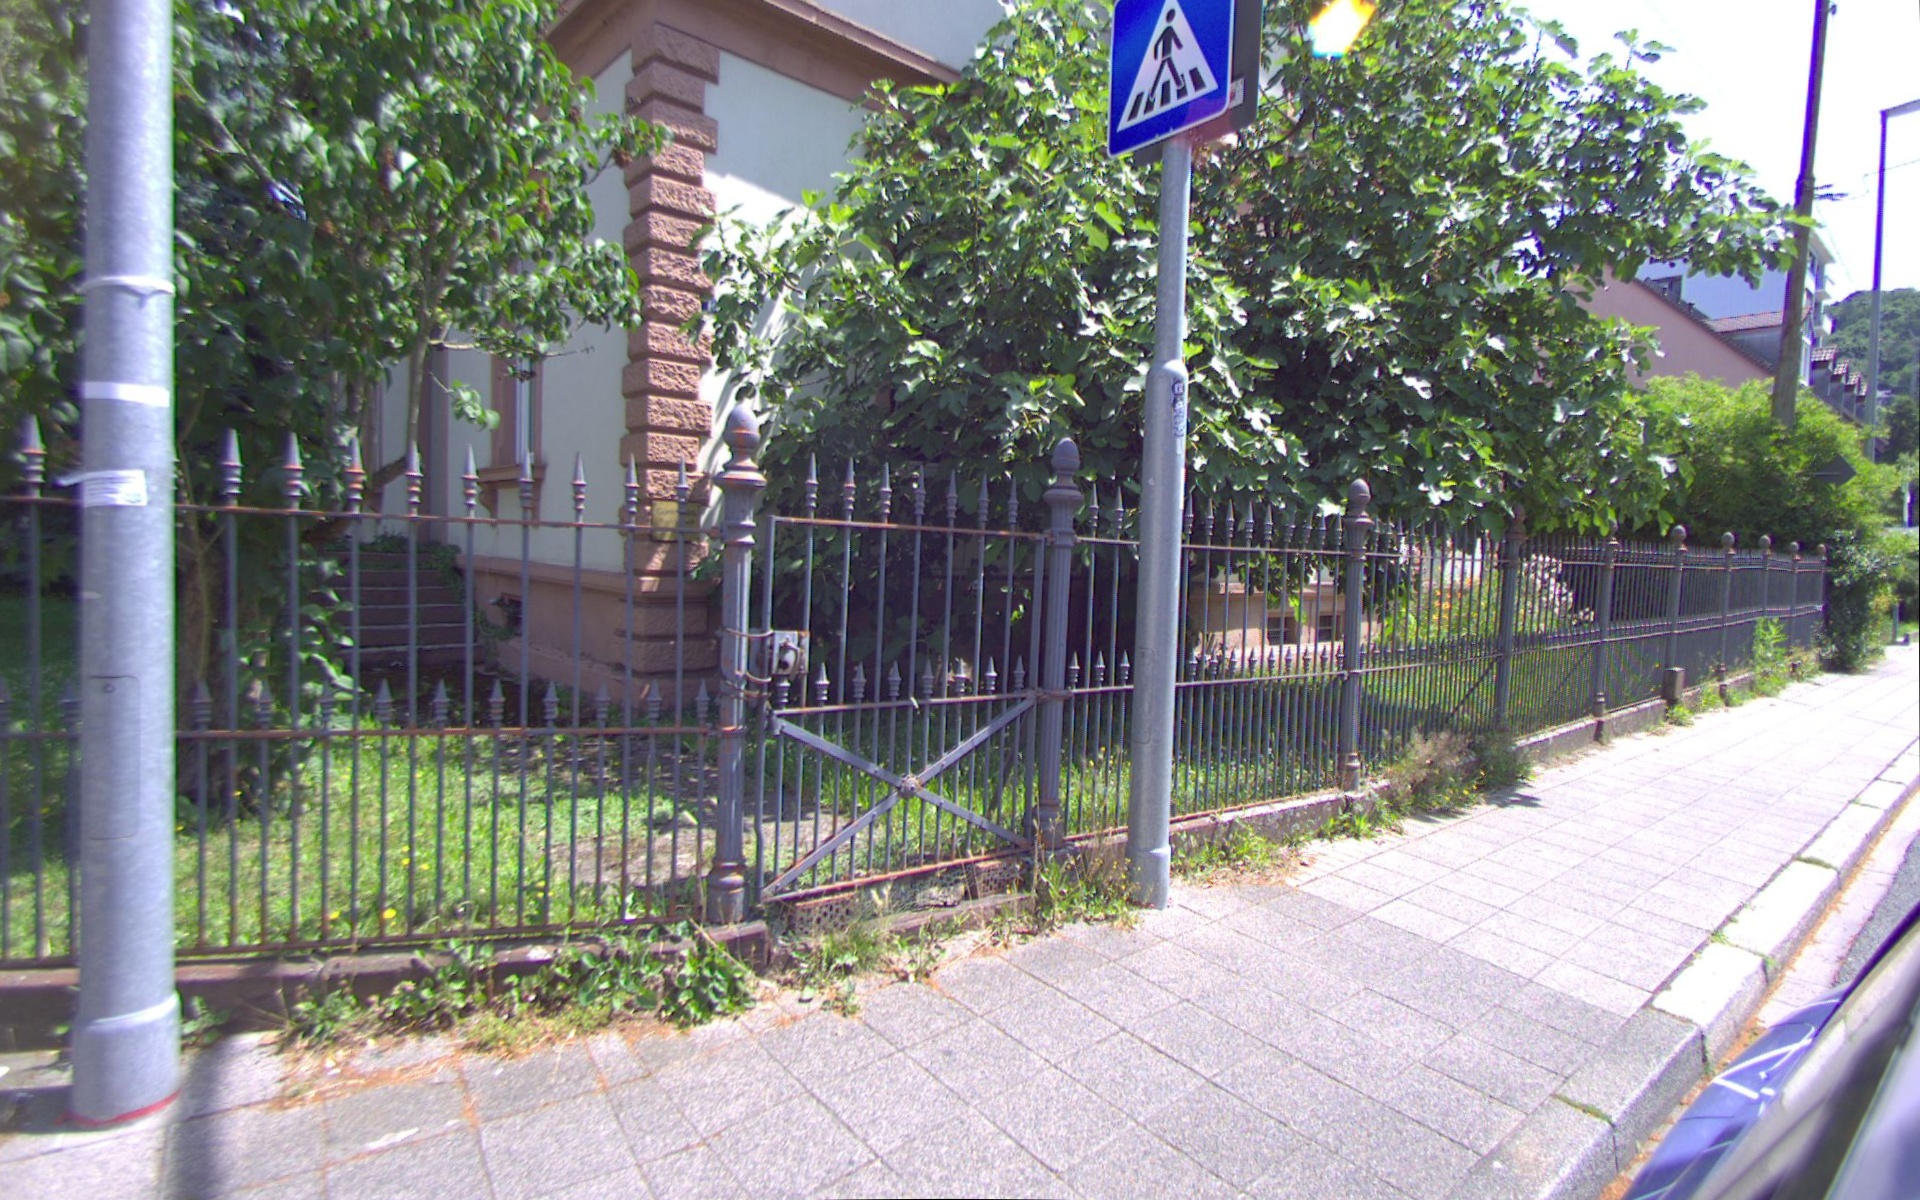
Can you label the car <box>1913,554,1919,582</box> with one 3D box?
[{"bbox_3d":[64.258,-2.025,65.052,1.788,1.811,4.294,-1,3,-2],"label":"car"}]
